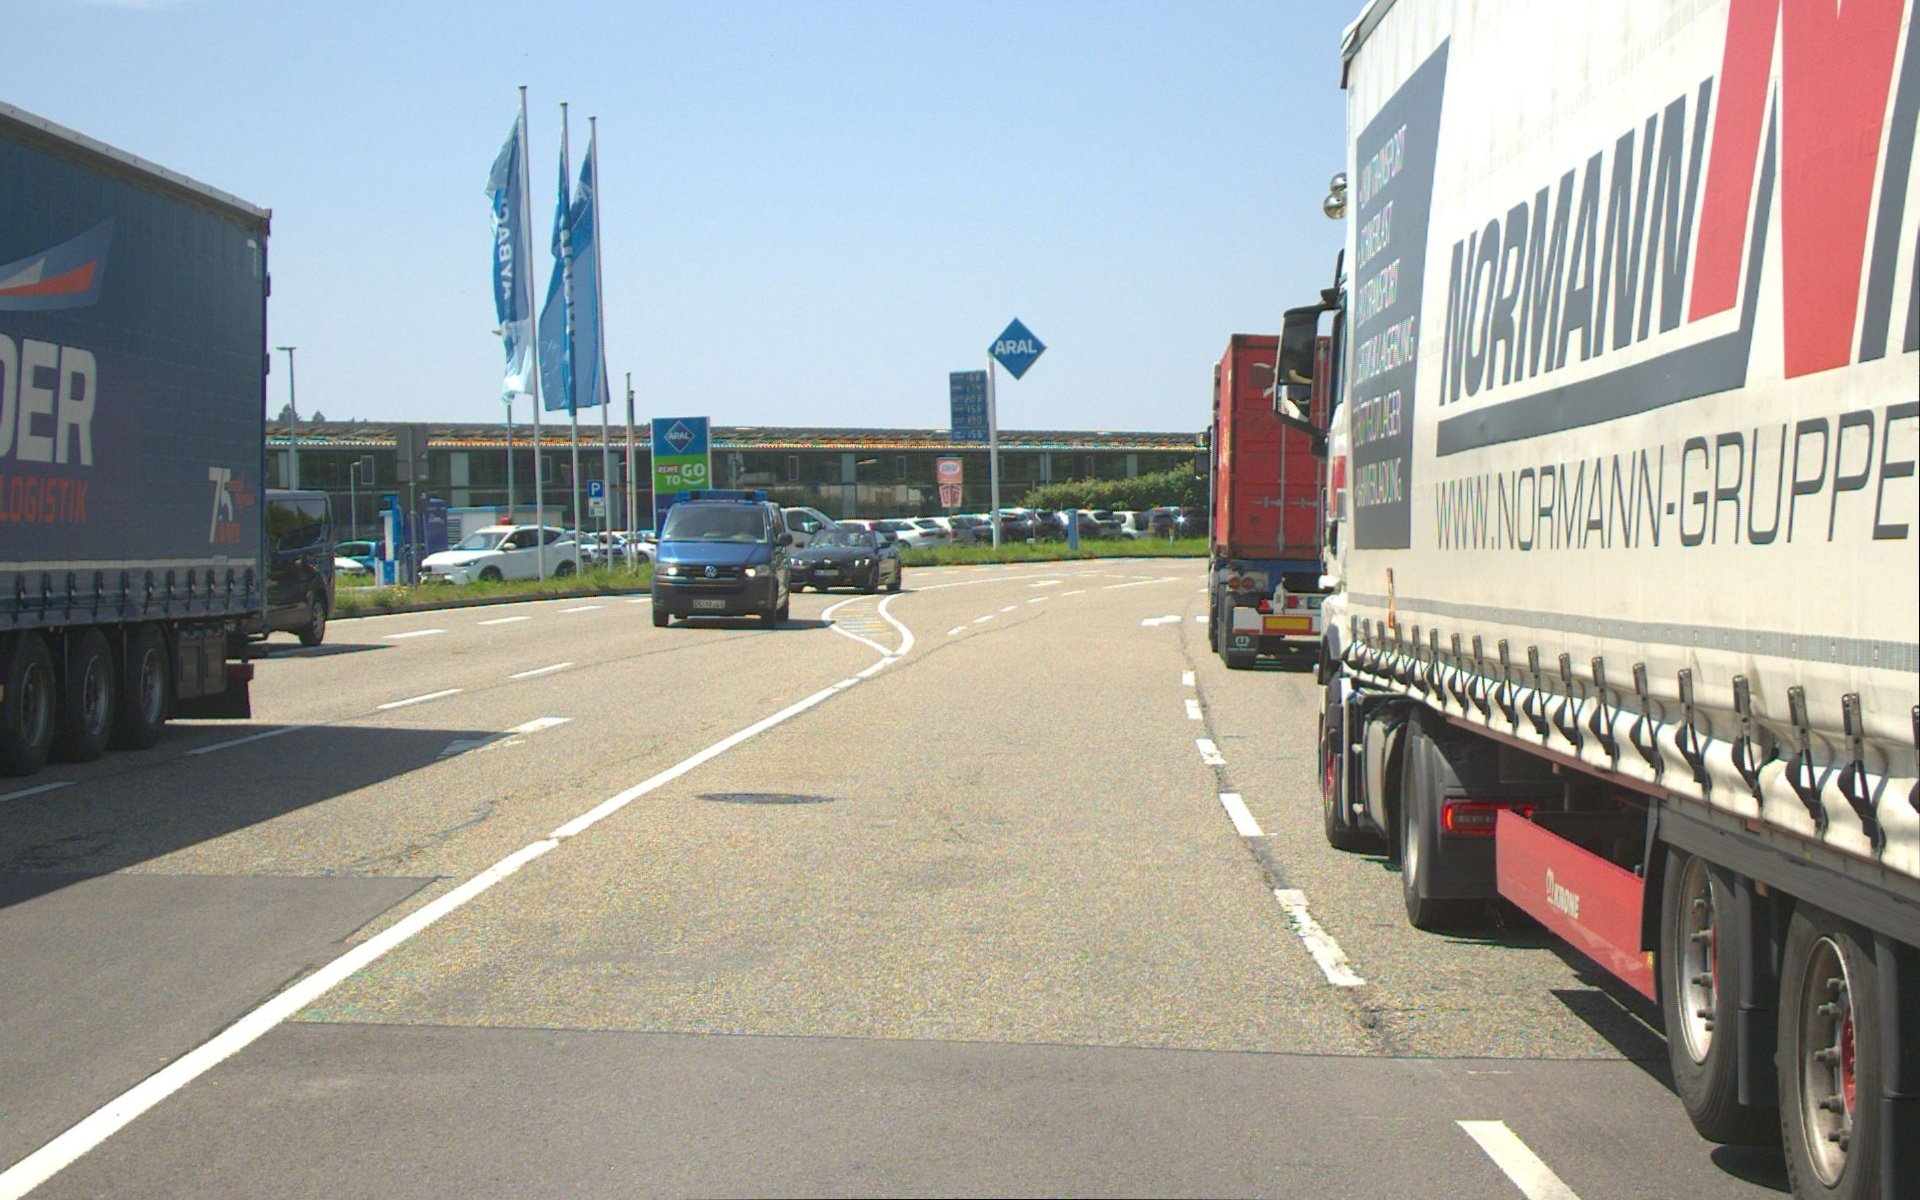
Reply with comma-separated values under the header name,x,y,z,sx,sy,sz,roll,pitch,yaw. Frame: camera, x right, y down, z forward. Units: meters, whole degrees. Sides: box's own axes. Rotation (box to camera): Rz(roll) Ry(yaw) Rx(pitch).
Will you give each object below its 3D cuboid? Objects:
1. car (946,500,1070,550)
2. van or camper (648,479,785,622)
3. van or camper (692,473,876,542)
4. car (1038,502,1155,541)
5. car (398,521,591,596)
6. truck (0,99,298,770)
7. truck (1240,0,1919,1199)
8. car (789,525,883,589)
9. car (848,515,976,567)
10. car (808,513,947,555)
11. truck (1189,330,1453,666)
name,x,y,z,sx,sy,sz,roll,pitch,yaw
car,1.712,-2.655,122.620,3.994,1.744,1.996,1,1,33
van or camper,-3.769,-0.814,53.963,1.836,2.130,5.343,0,2,-1
van or camper,-4.859,-2.558,95.354,4.848,1.898,1.904,0,1,7
car,5.172,-2.966,129.914,3.993,1.313,1.830,-1,2,30
car,-10.934,-0.985,80.991,1.867,1.706,4.509,1,1,37
truck,-7.027,-0.939,18.639,2.844,3.876,17.004,0,1,3
truck,3.012,-0.727,11.269,2.973,4.079,17.635,0,1,1
car,-2.562,-0.917,72.008,1.848,1.267,4.177,-1,1,-1
car,-1.653,-2.030,118.739,3.994,1.744,1.931,0,1,33
car,-2.786,-2.220,115.703,4.244,1.354,1.997,0,2,31
truck,4.564,-1.308,45.883,2.648,3.793,13.359,-1,1,2
